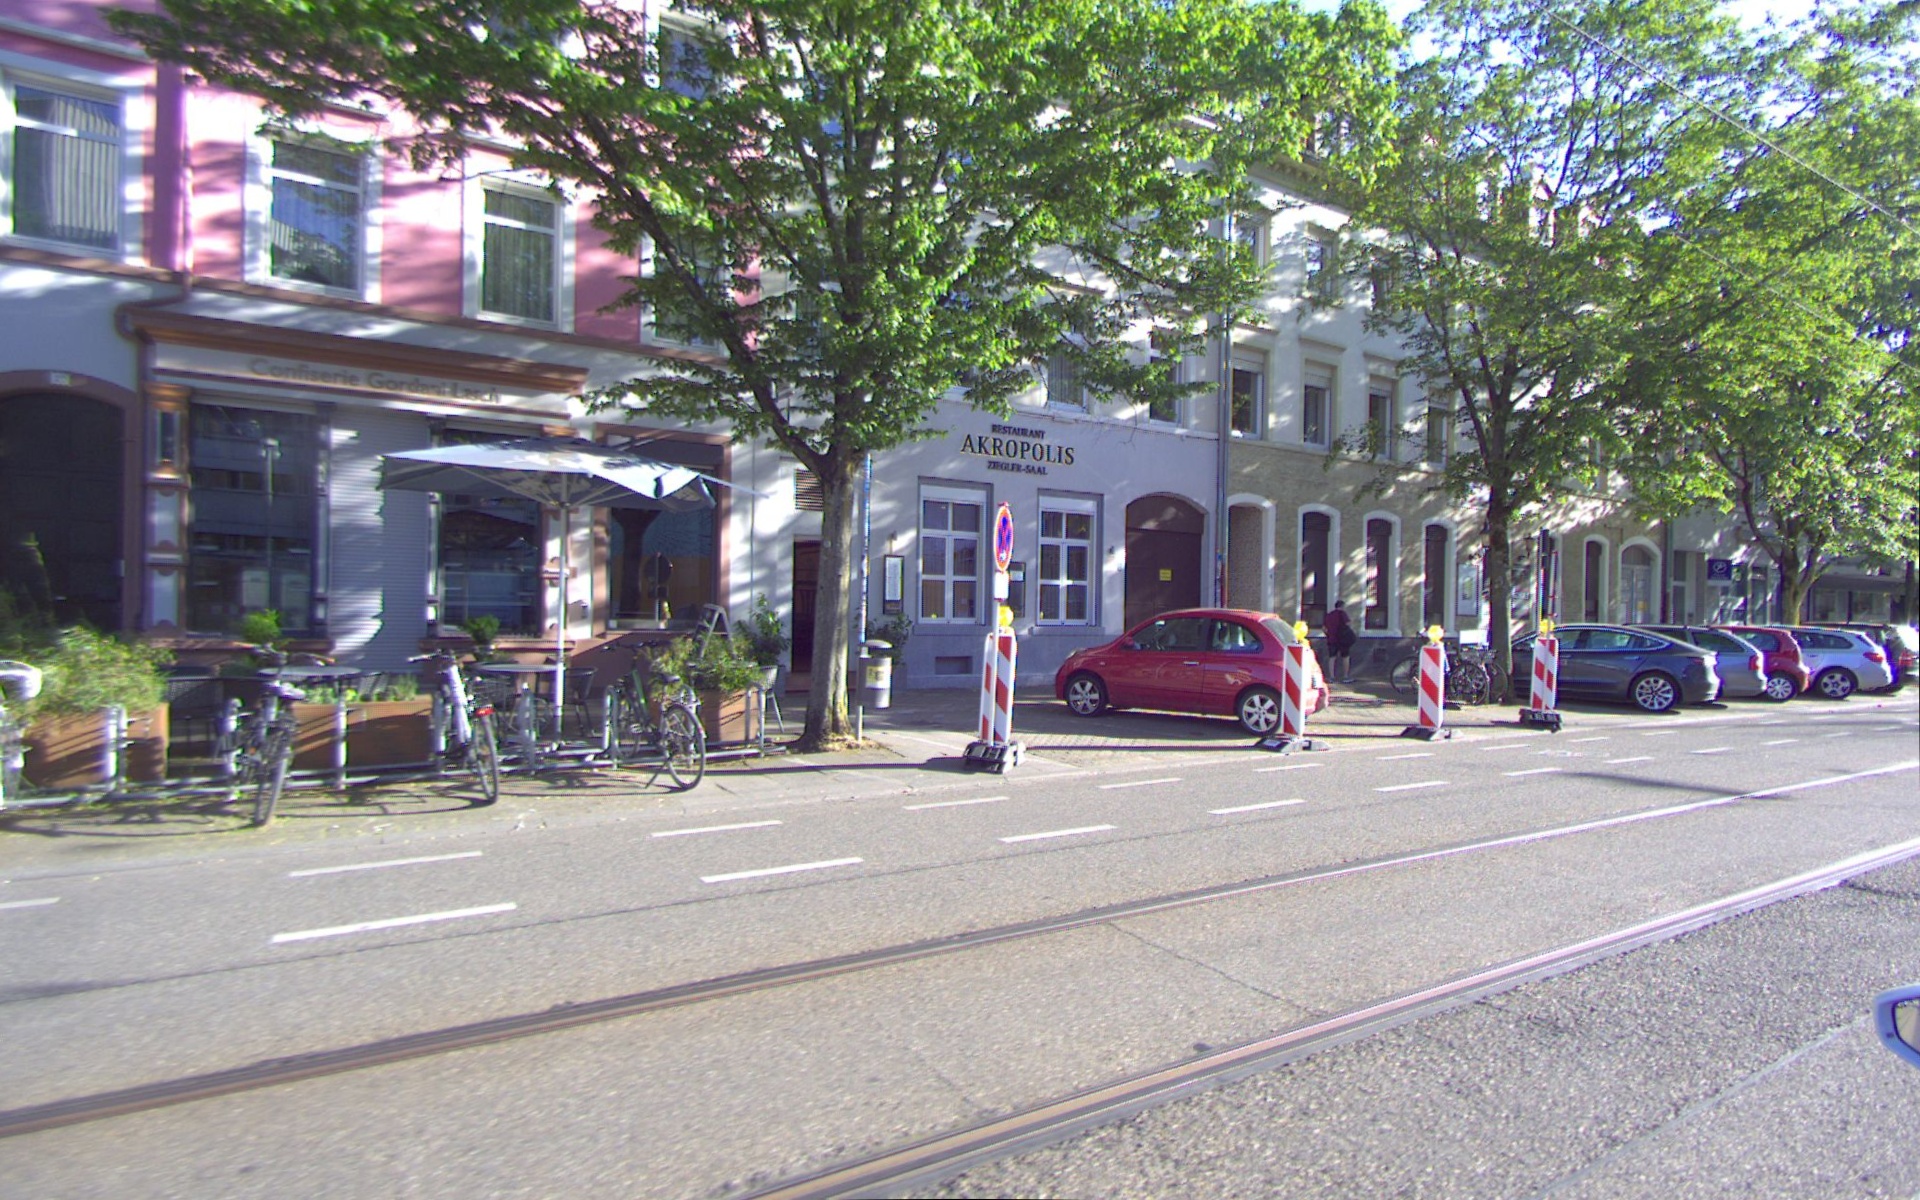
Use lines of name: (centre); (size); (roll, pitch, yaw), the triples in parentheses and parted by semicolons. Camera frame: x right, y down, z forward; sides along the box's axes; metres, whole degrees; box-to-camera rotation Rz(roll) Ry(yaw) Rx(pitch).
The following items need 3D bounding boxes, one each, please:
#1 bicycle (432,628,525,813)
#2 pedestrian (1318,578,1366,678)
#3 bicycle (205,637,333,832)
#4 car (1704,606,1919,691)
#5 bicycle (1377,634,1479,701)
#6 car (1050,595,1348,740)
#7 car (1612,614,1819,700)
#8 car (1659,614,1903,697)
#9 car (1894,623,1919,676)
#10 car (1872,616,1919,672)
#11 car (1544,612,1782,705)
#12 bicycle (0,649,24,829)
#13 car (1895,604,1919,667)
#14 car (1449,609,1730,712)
bicycle: (-3.906, 0.881, 8.072); (0.560, 1.102, 1.994); (1, 4, -28)
pedestrian: (7.910, 0.572, 20.812); (0.550, 2.040, 0.728); (1, 0, -30)
bicycle: (-5.062, 0.903, 7.449); (0.561, 1.094, 1.959); (1, 2, -28)
car: (21.224, 1.132, 24.873); (1.821, 1.700, 4.079); (1, 2, -33)
bicycle: (8.089, 1.157, 17.400); (1.562, 1.110, 0.334); (0, -1, 14)
car: (3.195, 0.794, 13.620); (3.563, 1.574, 1.664); (3, 2, 33)
car: (15.953, 1.149, 21.427); (3.314, 1.513, 1.609); (3, 2, 31)
car: (18.444, 1.187, 22.846); (4.046, 1.533, 1.836); (3, 2, 33)
car: (28.819, 1.418, 28.135); (3.812, 1.496, 1.834); (0, -1, 41)
car: (30.507, 1.343, 30.394); (4.183, 1.707, 1.803); (-1, -1, 38)
car: (13.656, 1.072, 19.795); (3.618, 1.490, 1.750); (3, 1, 30)
bicycle: (-6.546, 0.888, 6.695); (0.386, 1.001, 1.585); (1, 2, -41)
car: (32.644, 1.233, 31.723); (4.299, 2.013, 1.942); (3, 1, 38)
car: (11.430, 1.014, 18.496); (4.130, 1.511, 1.939); (3, 1, 32)
